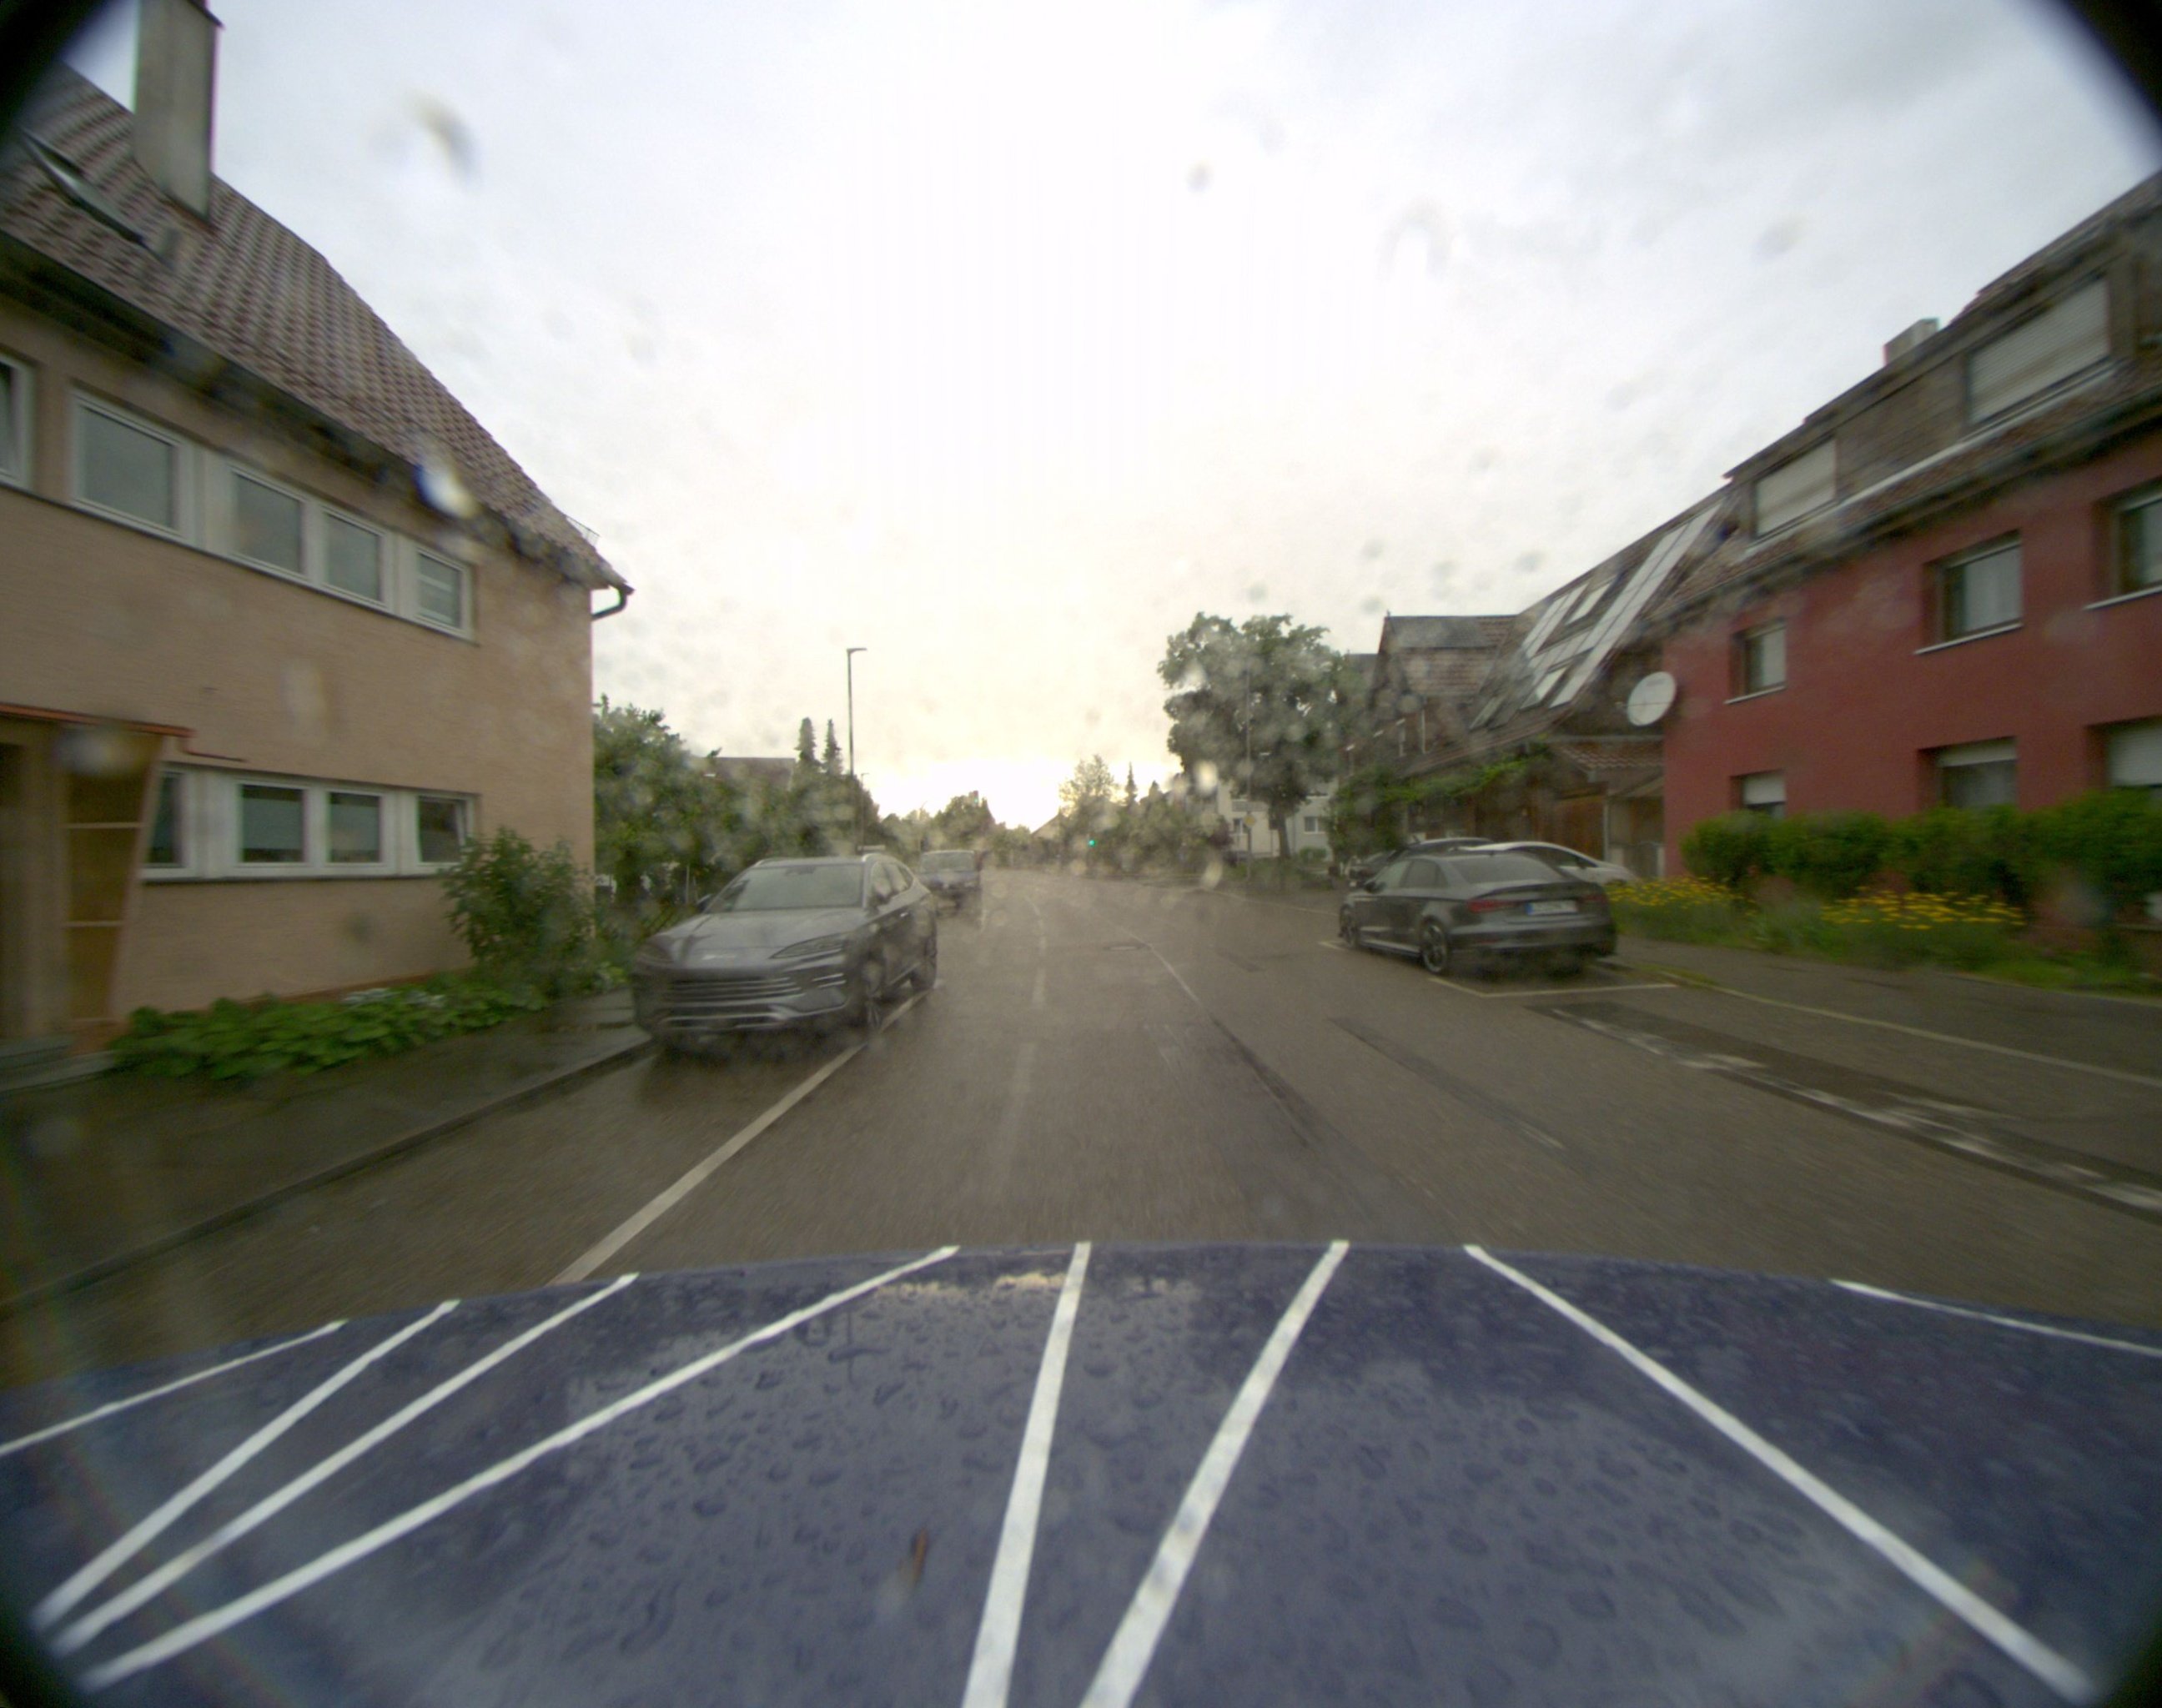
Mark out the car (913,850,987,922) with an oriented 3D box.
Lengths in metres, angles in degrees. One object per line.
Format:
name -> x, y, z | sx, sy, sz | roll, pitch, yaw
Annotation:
car -> -3.968, 0.885, 23.381 | 1.937, 1.891, 4.789 | -3, 1, -8

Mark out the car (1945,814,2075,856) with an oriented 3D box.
car -> 43.590, -0.869, 35.793 | 1.996, 1.827, 4.005 | -1, 0, 17

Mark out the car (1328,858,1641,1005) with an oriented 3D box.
car -> 4.690, 0.778, 9.616 | 1.631, 1.348, 4.110 | -3, 0, -2

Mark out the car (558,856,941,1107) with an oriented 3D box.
car -> -2.847, 0.942, 7.851 | 1.913, 1.707, 4.555 | -3, 0, -1

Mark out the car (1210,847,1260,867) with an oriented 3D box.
car -> 11.297, 0.234, 55.930 | 1.780, 1.413, 3.619 | -1, 0, -24

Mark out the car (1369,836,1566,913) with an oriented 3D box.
car -> 8.872, 0.461, 17.706 | 3.583, 1.497, 1.856 | -3, 0, 4

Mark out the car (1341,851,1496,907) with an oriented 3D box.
car -> 9.011, 0.635, 20.466 | 3.454, 1.410, 1.633 | -1, 0, 2

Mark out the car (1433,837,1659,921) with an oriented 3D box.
car -> 9.089, 0.473, 15.072 | 3.469, 1.470, 1.591 | -2, 0, 2
